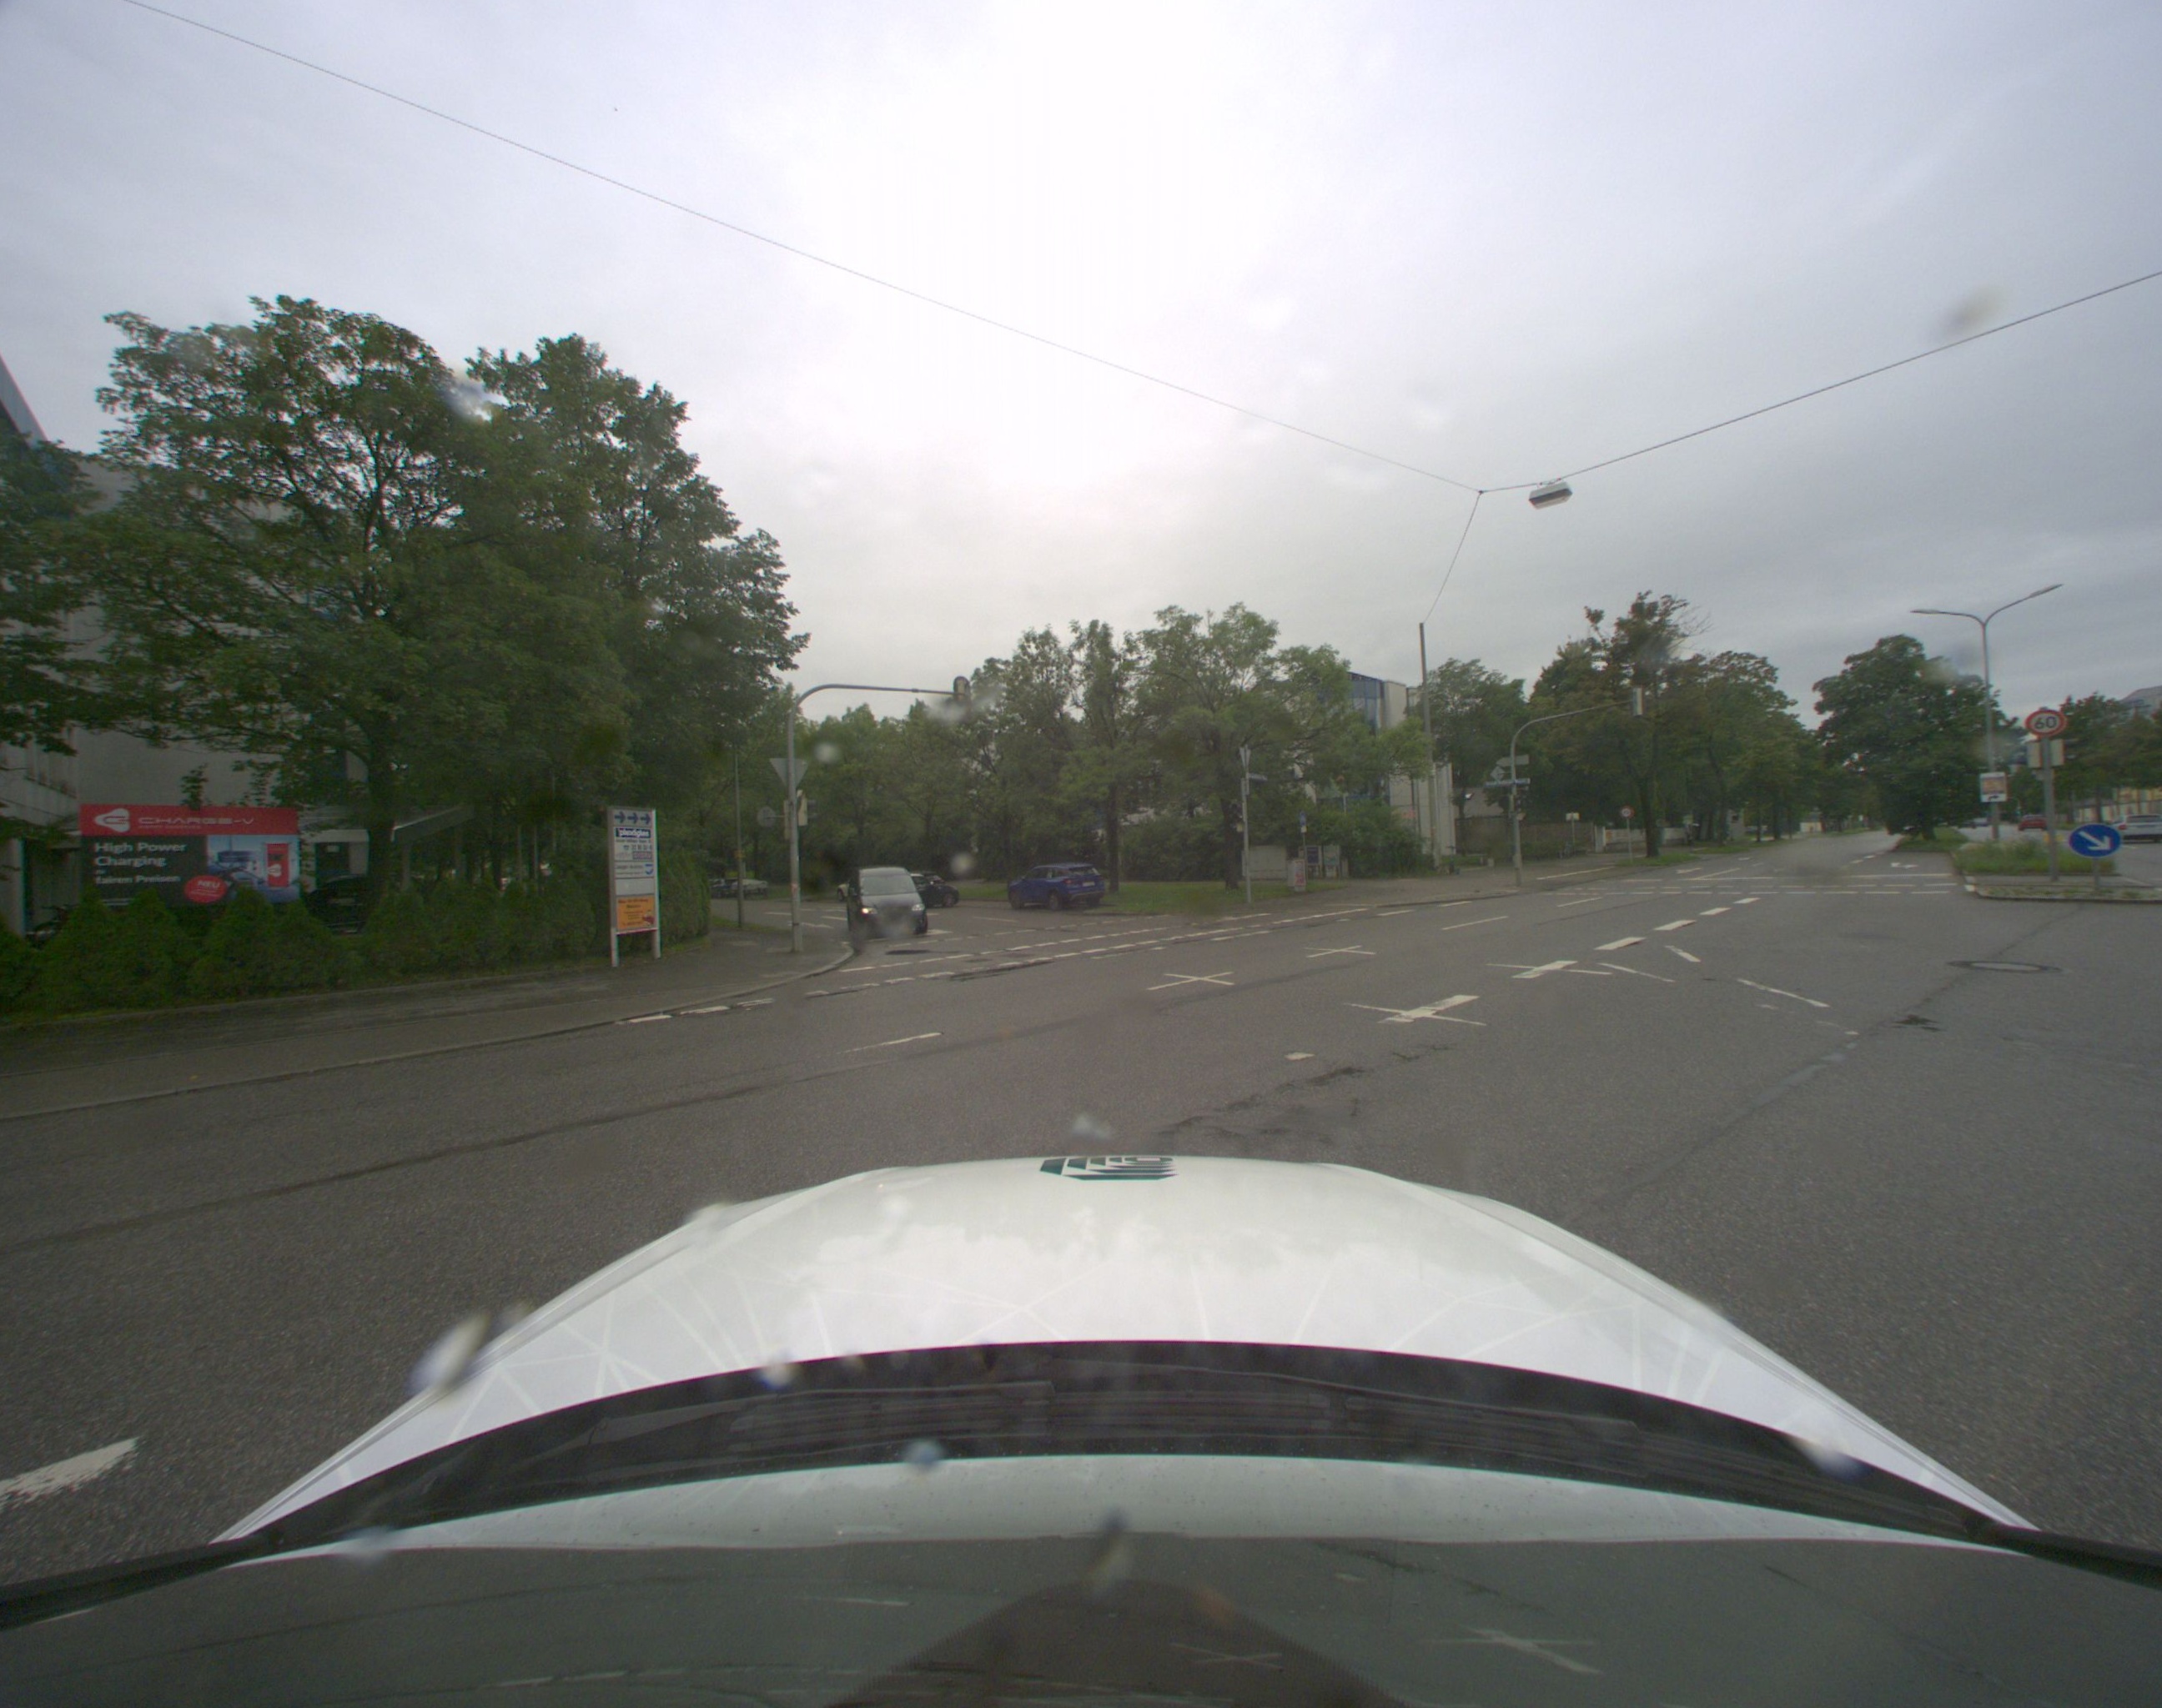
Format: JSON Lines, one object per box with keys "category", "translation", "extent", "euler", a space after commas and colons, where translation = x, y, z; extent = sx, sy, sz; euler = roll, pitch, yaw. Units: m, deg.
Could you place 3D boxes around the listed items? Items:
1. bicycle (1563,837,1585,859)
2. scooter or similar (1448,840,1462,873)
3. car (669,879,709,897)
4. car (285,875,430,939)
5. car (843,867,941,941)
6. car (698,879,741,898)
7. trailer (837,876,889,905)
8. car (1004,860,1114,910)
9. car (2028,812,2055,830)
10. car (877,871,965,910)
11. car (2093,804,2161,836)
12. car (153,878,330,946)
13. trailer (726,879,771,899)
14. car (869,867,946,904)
{"category": "bicycle", "translation": [30.377, -0.367, 50.153], "extent": [0.576, 1.295, 2.469], "euler": [-2, 0, 44]}
{"category": "scooter or similar", "translation": [16.673, 0.087, 36.326], "extent": [0.366, 1.424, 1.414], "euler": [-2, 0, 31]}
{"category": "car", "translation": [-29.939, 2.565, 62.189], "extent": [3.379, 1.262, 1.567], "euler": [-1, 1, 42]}
{"category": "car", "translation": [-19.612, 1.356, 22.308], "extent": [1.873, 1.418, 4.141], "euler": [-2, 1, -26]}
{"category": "car", "translation": [-5.328, 1.312, 22.447], "extent": [2.001, 1.723, 4.757], "euler": [-2, -1, -20]}
{"category": "car", "translation": [-26.161, 2.469, 58.877], "extent": [3.379, 1.262, 1.567], "euler": [-1, 1, 42]}
{"category": "trailer", "translation": [-11.774, 1.928, 43.889], "extent": [1.459, 1.414, 3.303], "euler": [-2, 1, -39]}
{"category": "car", "translation": [-0.891, 1.145, 30.219], "extent": [2.009, 1.574, 4.237], "euler": [-5, 0, -34]}
{"category": "car", "translation": [97.293, -3.372, 82.522], "extent": [3.572, 1.715, 1.470], "euler": [-2, 1, -45]}
{"category": "car", "translation": [-6.731, 1.509, 34.212], "extent": [3.287, 1.444, 1.650], "euler": [-2, -1, -27]}
{"category": "car", "translation": [52.930, -1.724, 41.006], "extent": [1.860, 1.467, 4.529], "euler": [-2, 1, 43]}
{"category": "car", "translation": [-21.730, 1.436, 21.317], "extent": [1.873, 1.418, 4.141], "euler": [-2, 1, -26]}
{"category": "trailer", "translation": [-22.792, 2.384, 55.803], "extent": [3.380, 1.262, 1.567], "euler": [-1, 1, 43]}
{"category": "car", "translation": [-8.493, 1.572, 39.632], "extent": [1.773, 1.574, 4.115], "euler": [-5, 0, -41]}
